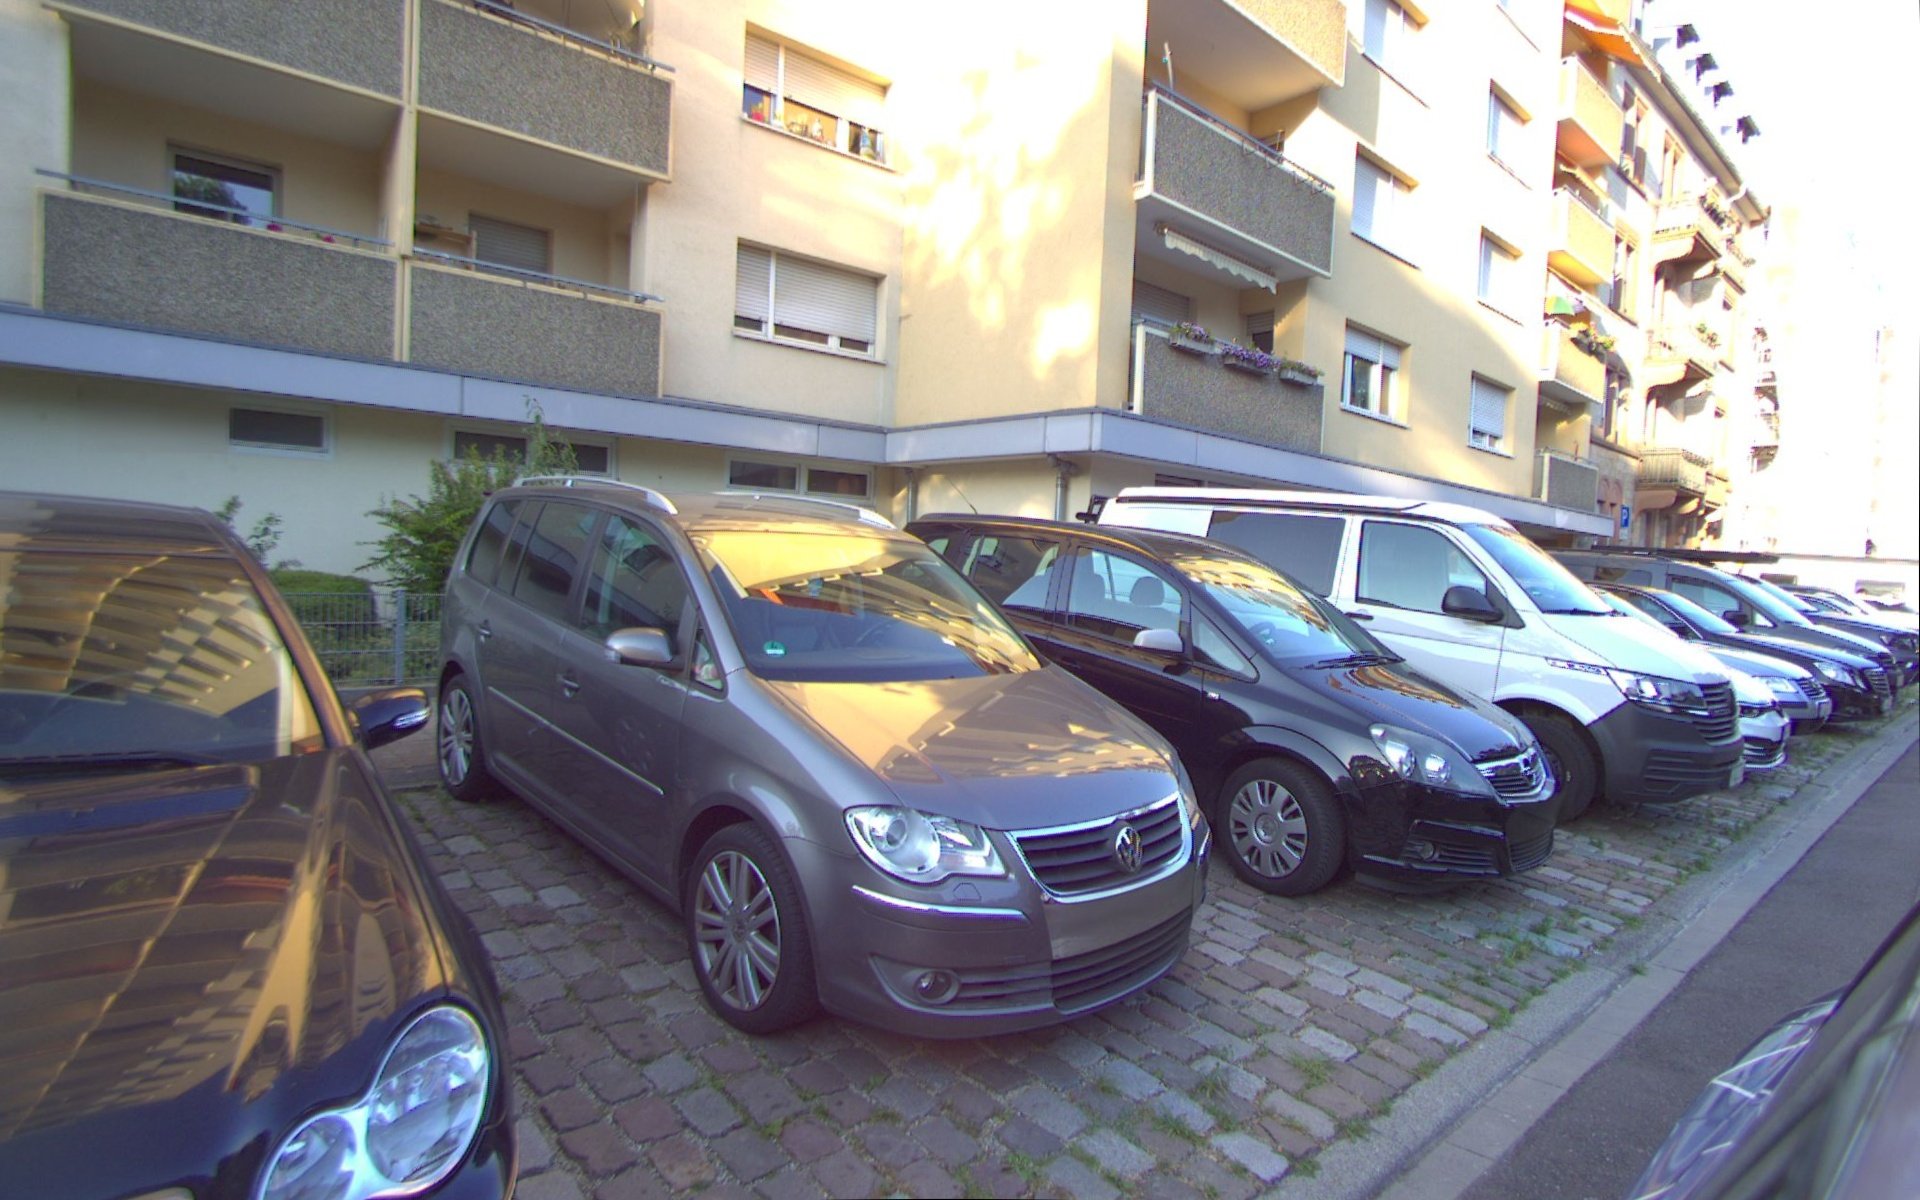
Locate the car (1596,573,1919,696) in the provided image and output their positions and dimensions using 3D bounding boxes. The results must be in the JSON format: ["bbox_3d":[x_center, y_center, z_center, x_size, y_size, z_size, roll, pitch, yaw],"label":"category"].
[{"bbox_3d":[13.842,0.469,17.503,1.813,1.572,4.416,-2,6,-39],"label":"car"}]

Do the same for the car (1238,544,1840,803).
[{"bbox_3d":[5.017,0.401,9.332,1.814,1.650,4.413,-2,6,-41],"label":"car"}]

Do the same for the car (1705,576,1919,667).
[{"bbox_3d":[18.937,0.411,21.684,1.813,1.572,4.415,-2,6,-40],"label":"car"}]

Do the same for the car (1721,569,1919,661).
[{"bbox_3d":[20.644,0.297,23.470,1.812,1.769,4.418,-2,6,-38],"label":"car"}]

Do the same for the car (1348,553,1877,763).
[{"bbox_3d":[6.753,0.399,10.911,1.814,1.611,4.413,-2,6,-41],"label":"car"}]

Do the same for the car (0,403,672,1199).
[{"bbox_3d":[-2.668,0.373,2.748,1.815,1.549,4.411,-2,6,-43],"label":"car"}]

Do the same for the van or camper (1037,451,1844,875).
[{"bbox_3d":[3.232,0.062,7.871,2.006,2.192,5.144,0,7,-43],"label":"van or camper"}]

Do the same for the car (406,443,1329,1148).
[{"bbox_3d":[-0.894,0.222,4.596,1.815,1.680,4.412,-2,7,-43],"label":"car"}]

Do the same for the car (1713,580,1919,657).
[{"bbox_3d":[22.078,0.397,25.713,1.813,1.638,4.414,-2,4,-40],"label":"car"}]

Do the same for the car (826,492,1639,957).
[{"bbox_3d":[1.208,0.290,6.024,1.752,1.680,4.334,-2,7,-43],"label":"car"}]

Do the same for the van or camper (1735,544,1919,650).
[{"bbox_3d":[24.720,-0.059,26.961,2.014,2.534,6.074,1,4,-41],"label":"van or camper"}]

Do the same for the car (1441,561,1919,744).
[{"bbox_3d":[8.474,0.434,12.212,1.814,1.581,4.413,-2,6,-41],"label":"car"}]

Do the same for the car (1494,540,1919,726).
[{"bbox_3d":[10.278,0.253,14.060,1.814,2.004,4.647,-2,6,-41],"label":"car"}]

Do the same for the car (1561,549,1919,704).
[{"bbox_3d":[12.118,0.277,15.559,1.814,1.885,4.522,0,4,-41],"label":"car"}]
